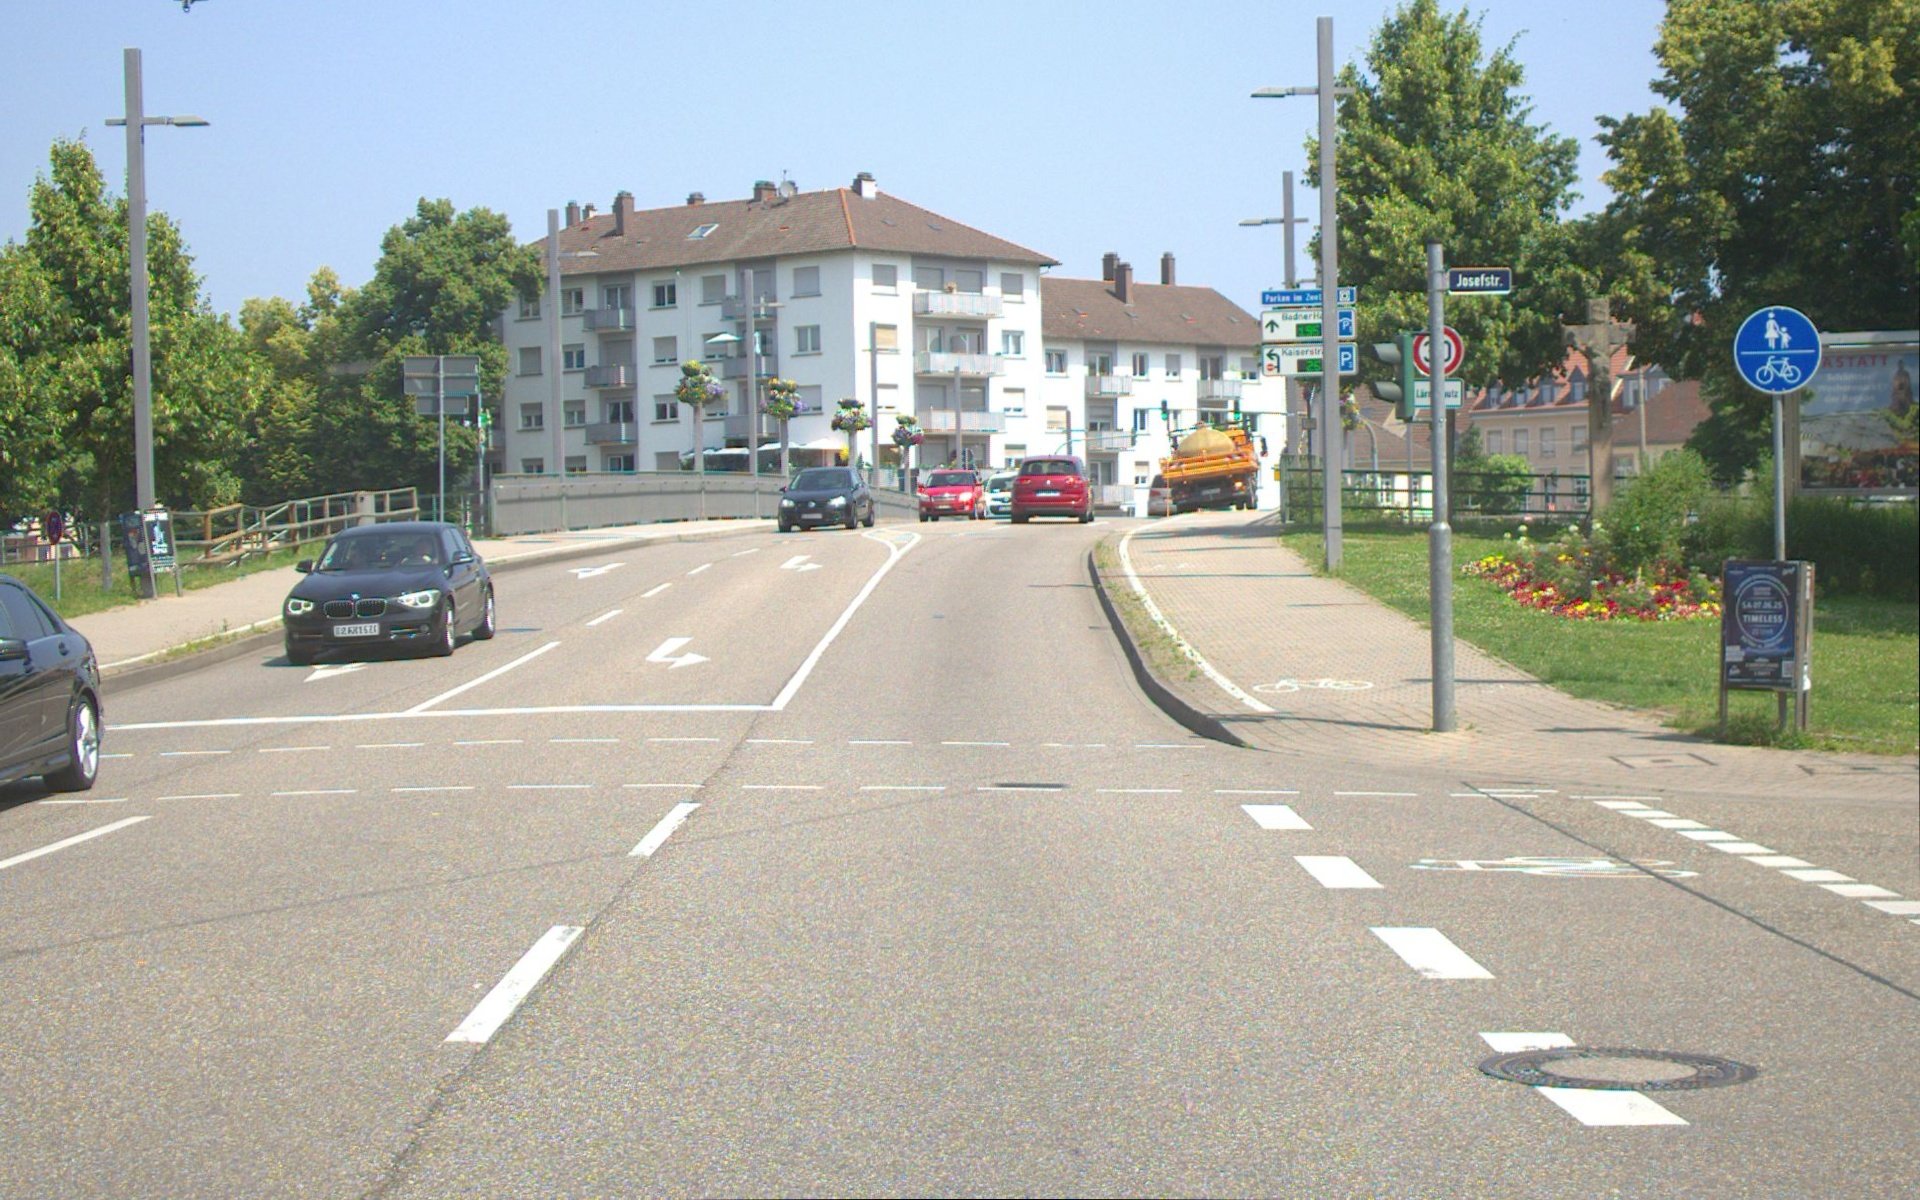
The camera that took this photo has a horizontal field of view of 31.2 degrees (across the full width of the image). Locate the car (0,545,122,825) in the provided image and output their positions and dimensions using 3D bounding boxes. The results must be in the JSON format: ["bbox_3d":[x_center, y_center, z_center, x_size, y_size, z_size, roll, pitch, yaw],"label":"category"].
[{"bbox_3d":[-6.288,0.503,20.025,1.755,1.555,4.318,-3,1,-1],"label":"car"}]

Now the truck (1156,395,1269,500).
[{"bbox_3d":[6.848,-4.073,92.721,2.606,2.682,5.822,-1,2,8],"label":"truck"}]

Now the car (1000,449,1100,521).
[{"bbox_3d":[2.163,-2.712,81.397,1.990,1.607,4.342,-1,1,6],"label":"car"}]

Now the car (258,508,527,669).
[{"bbox_3d":[-6.173,-0.173,37.870,1.837,1.394,4.050,-3,4,6],"label":"car"}]

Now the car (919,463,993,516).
[{"bbox_3d":[-0.098,-3.164,99.219,1.647,1.459,3.860,0,1,7],"label":"car"}]

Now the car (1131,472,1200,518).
[{"bbox_3d":[6.934,-3.521,115.611,2.038,1.498,4.416,0,1,7],"label":"car"}]

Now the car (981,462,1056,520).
[{"bbox_3d":[1.997,-3.676,115.949,1.837,1.854,4.662,-2,1,9],"label":"car"}]

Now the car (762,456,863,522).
[{"bbox_3d":[-3.405,-2.560,80.047,1.714,1.480,4.030,0,1,7],"label":"car"}]
